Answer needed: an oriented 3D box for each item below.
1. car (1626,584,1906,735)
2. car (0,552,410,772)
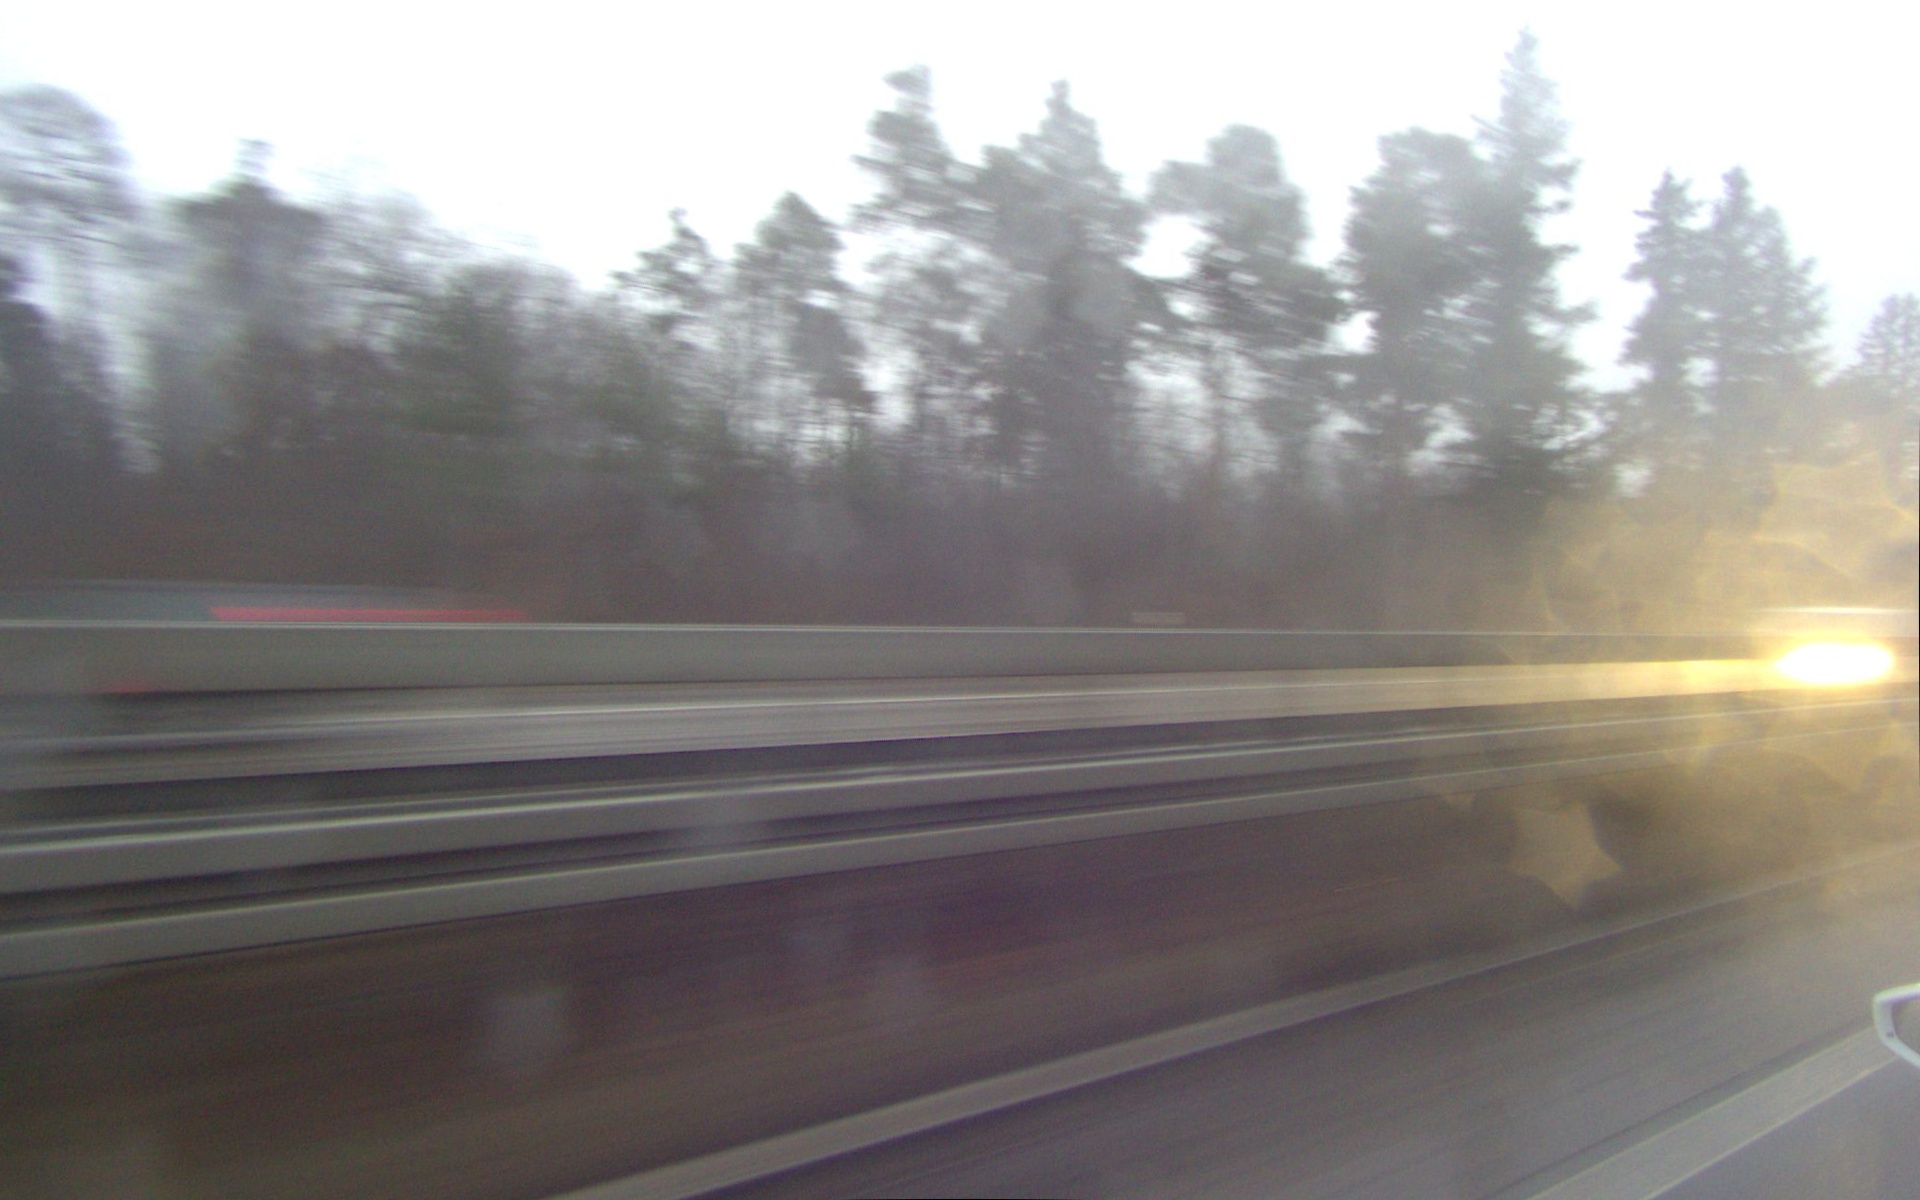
[{"bbox_3d":[12.613,0.848,15.657,4.586,2.040,1.923,1,0,-31],"label":"car"},{"bbox_3d":[-7.293,0.483,8.790,4.226,1.595,1.983,3,2,-32],"label":"car"}]
